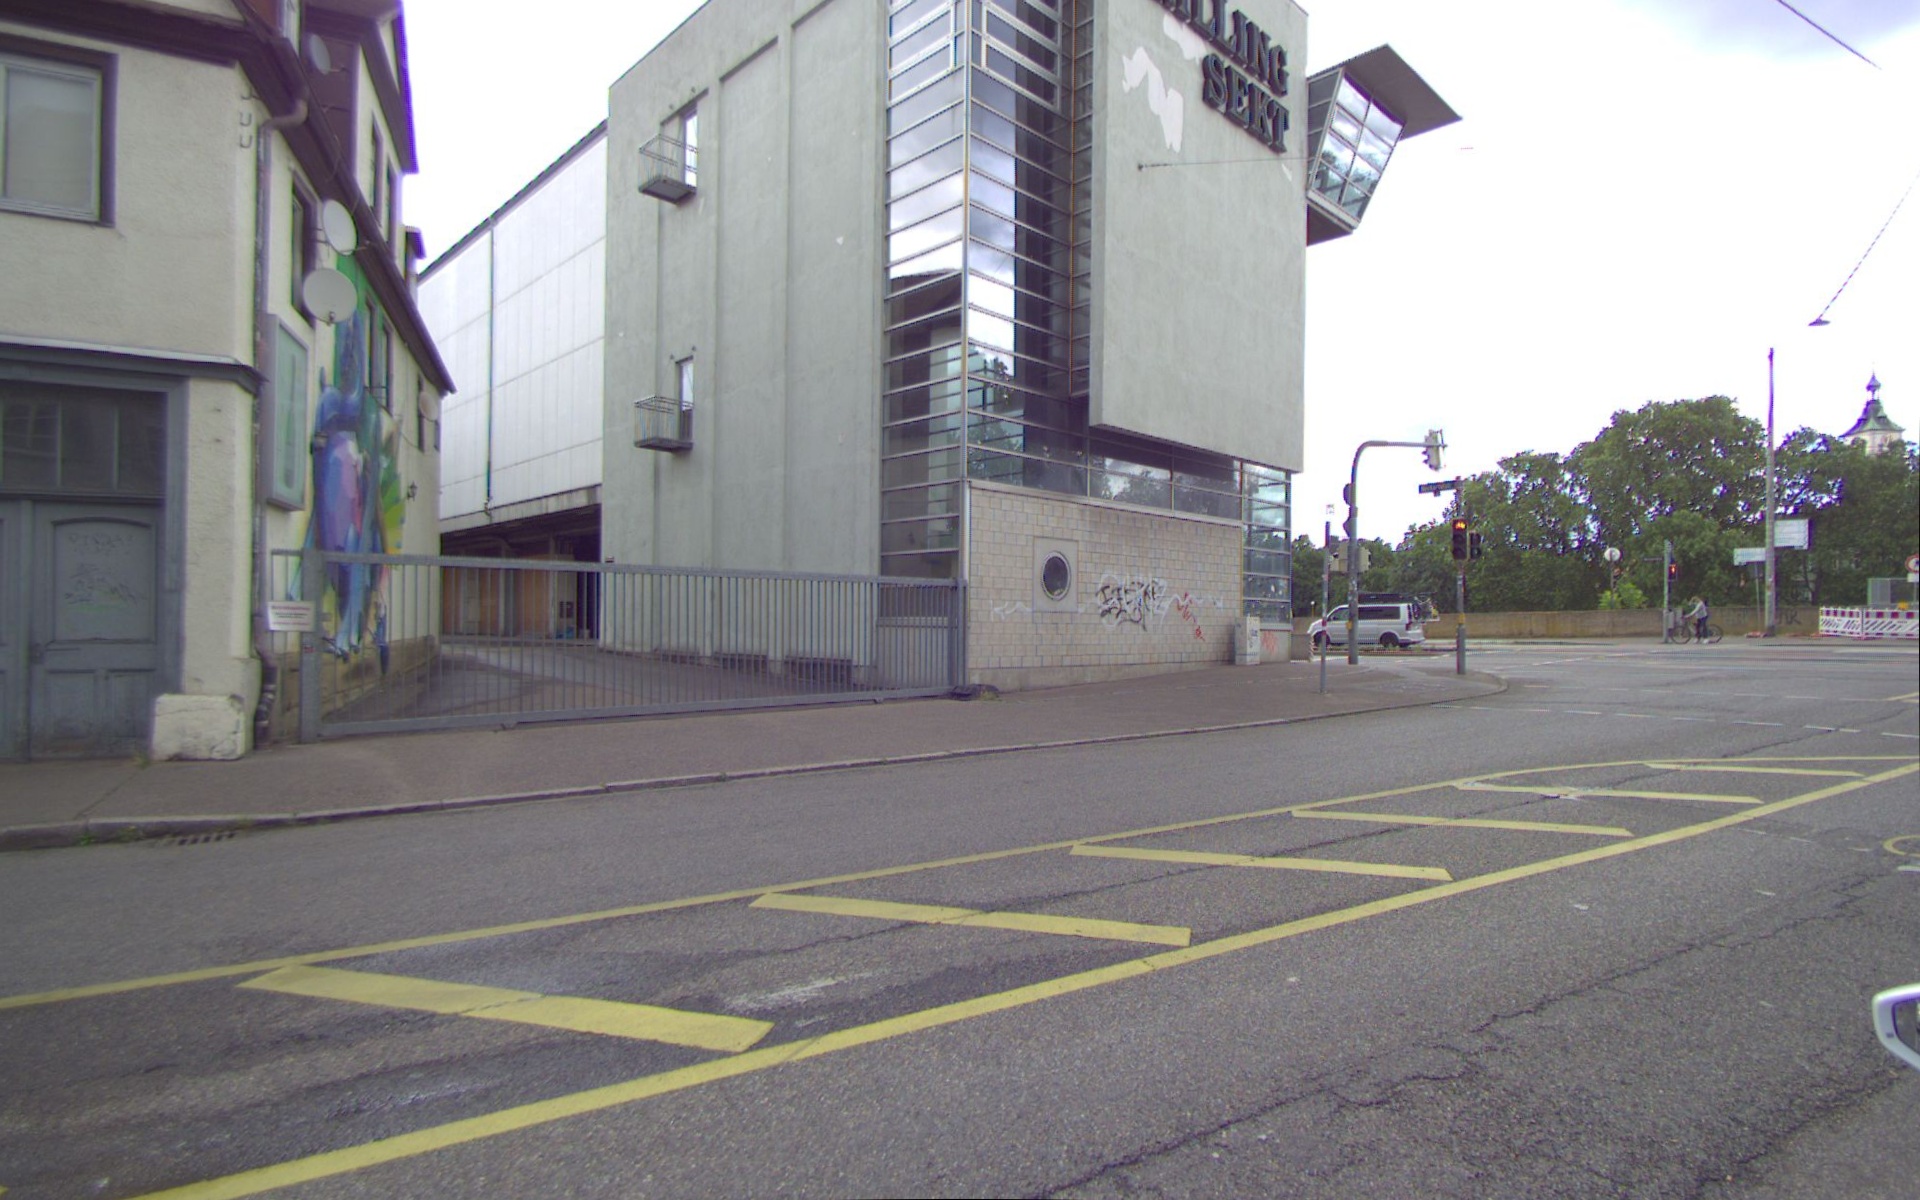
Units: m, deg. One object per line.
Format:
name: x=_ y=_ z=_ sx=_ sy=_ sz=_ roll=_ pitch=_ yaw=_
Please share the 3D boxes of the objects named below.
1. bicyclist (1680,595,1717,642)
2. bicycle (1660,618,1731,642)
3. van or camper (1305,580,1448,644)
bicyclist: x=28.584 y=0.708 z=38.895 sx=0.985 sy=1.767 sz=0.755 roll=0 pitch=0 yaw=19
bicycle: x=28.482 y=1.157 z=38.945 sx=2.096 sy=0.904 sz=0.760 roll=-1 pitch=0 yaw=20
van or camper: x=18.047 y=0.593 z=43.695 sx=5.332 sy=2.546 sz=2.026 roll=-3 pitch=-4 yaw=42
